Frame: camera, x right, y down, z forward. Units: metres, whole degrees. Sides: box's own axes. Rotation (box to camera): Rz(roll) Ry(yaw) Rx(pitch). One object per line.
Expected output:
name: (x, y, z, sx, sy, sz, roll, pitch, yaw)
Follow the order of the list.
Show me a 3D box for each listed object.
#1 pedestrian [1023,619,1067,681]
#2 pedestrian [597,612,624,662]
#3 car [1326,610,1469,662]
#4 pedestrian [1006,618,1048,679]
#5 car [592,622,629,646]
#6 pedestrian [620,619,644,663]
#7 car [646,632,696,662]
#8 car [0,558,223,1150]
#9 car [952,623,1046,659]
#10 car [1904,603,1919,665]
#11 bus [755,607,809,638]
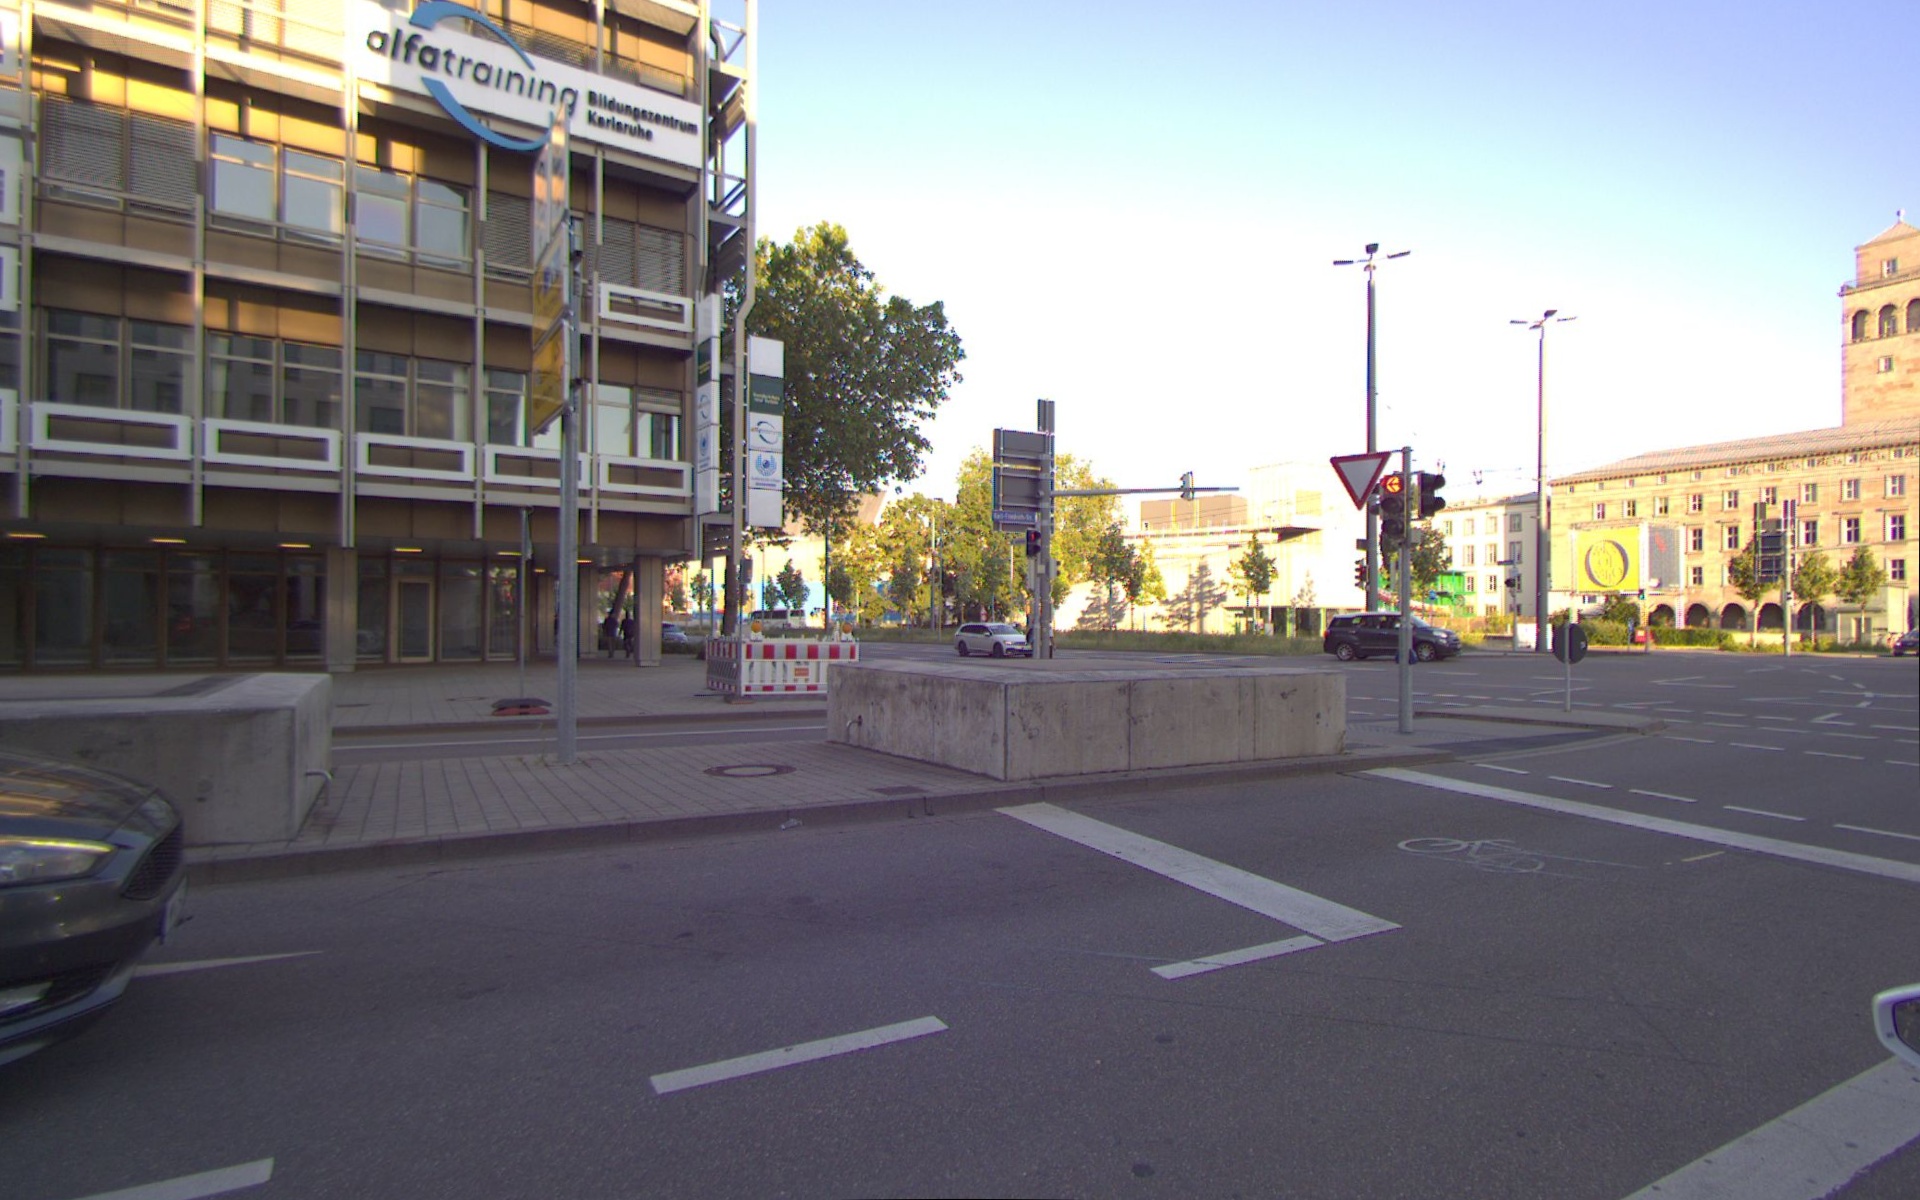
pedestrian: (2.441, 1.426, 28.824, 0.949, 1.744, 0.816, 1, -1, -34)
pedestrian: (-13.006, 1.374, 37.349, 0.749, 1.830, 0.715, 2, 0, -35)
car: (14.569, 1.169, 33.544, 4.074, 1.626, 1.736, -1, -1, 41)
pedestrian: (1.981, 1.416, 29.579, 0.949, 1.744, 0.816, 1, -1, -34)
car: (-24.370, 2.370, 69.945, 1.722, 1.605, 3.764, 0, -1, -31)
pedestrian: (-12.300, 1.544, 37.663, 0.660, 1.606, 0.715, 2, 0, -34)
car: (-17.021, 2.734, 59.031, 1.722, 1.605, 4.554, 0, -1, -30)
car: (-4.463, 0.603, 2.271, 4.330, 1.482, 1.748, 1, 1, -31)
car: (1.619, 1.749, 43.925, 1.831, 1.476, 4.550, 0, -1, -33)
car: (28.059, 0.947, 27.571, 2.915, 1.718, 1.488, 0, -1, -1)
bus: (-23.161, 2.933, 130.176, 2.959, 3.818, 10.341, 1, -1, -34)
